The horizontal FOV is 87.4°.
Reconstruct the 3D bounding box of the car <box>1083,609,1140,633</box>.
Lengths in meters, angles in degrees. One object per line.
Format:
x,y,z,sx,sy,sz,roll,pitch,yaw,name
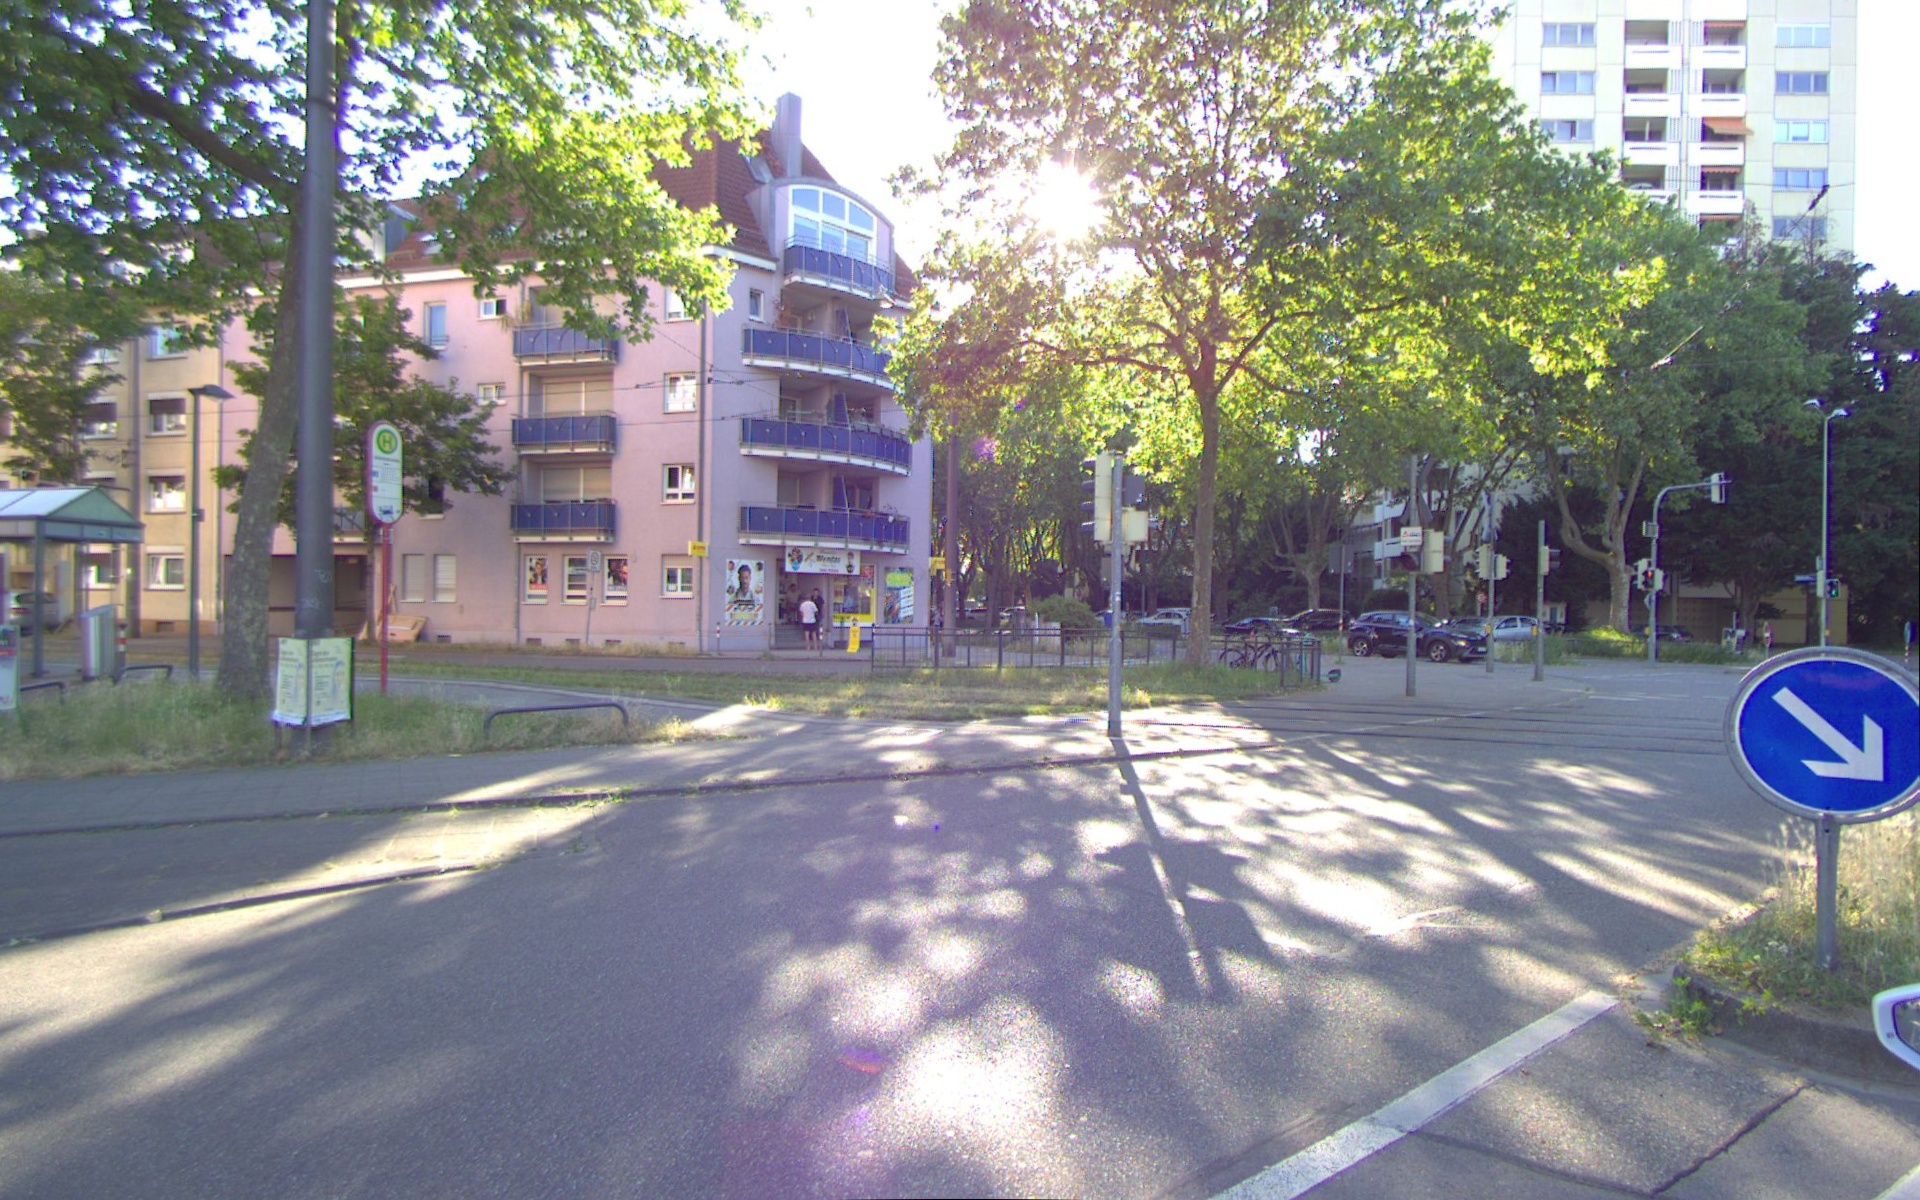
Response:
11.096,1.523,73.900,3.921,1.617,1.738,2,0,0,car

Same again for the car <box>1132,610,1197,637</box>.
13.414,1.551,65.985,3.921,1.617,1.738,2,0,0,car

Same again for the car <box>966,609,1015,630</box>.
2.622,1.669,86.369,3.919,1.617,1.739,2,0,9,car

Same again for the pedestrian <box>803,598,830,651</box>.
-4.674,0.794,32.679,0.610,1.689,0.549,2,0,38,pedestrian

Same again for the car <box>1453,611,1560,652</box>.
23.893,1.370,43.984,3.732,1.617,1.738,2,0,0,car

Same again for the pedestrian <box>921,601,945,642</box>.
-1.135,0.911,42.252,0.909,1.689,0.619,2,0,-9,pedestrian

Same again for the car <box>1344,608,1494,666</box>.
14.304,1.114,31.479,1.722,1.617,3.959,2,0,-36,car

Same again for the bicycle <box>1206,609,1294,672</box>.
6.410,0.879,22.248,1.811,1.324,0.382,2,0,34,bicycle

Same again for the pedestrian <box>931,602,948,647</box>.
-0.772,0.930,38.039,0.540,1.689,0.620,2,0,7,pedestrian

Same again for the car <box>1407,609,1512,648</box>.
22.852,1.298,46.035,3.921,1.617,1.738,2,0,0,car

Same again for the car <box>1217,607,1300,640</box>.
15.924,1.240,53.683,3.921,1.617,1.738,2,0,0,car

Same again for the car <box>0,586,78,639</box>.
-33.468,0.392,35.223,4.029,1.728,1.940,2,0,16,car

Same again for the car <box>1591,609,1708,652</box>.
31.632,1.358,46.203,1.971,1.798,3.979,2,0,-22,car

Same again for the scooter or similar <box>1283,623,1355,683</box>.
7.931,1.161,22.206,1.412,1.255,0.414,2,0,9,scooter or similar
